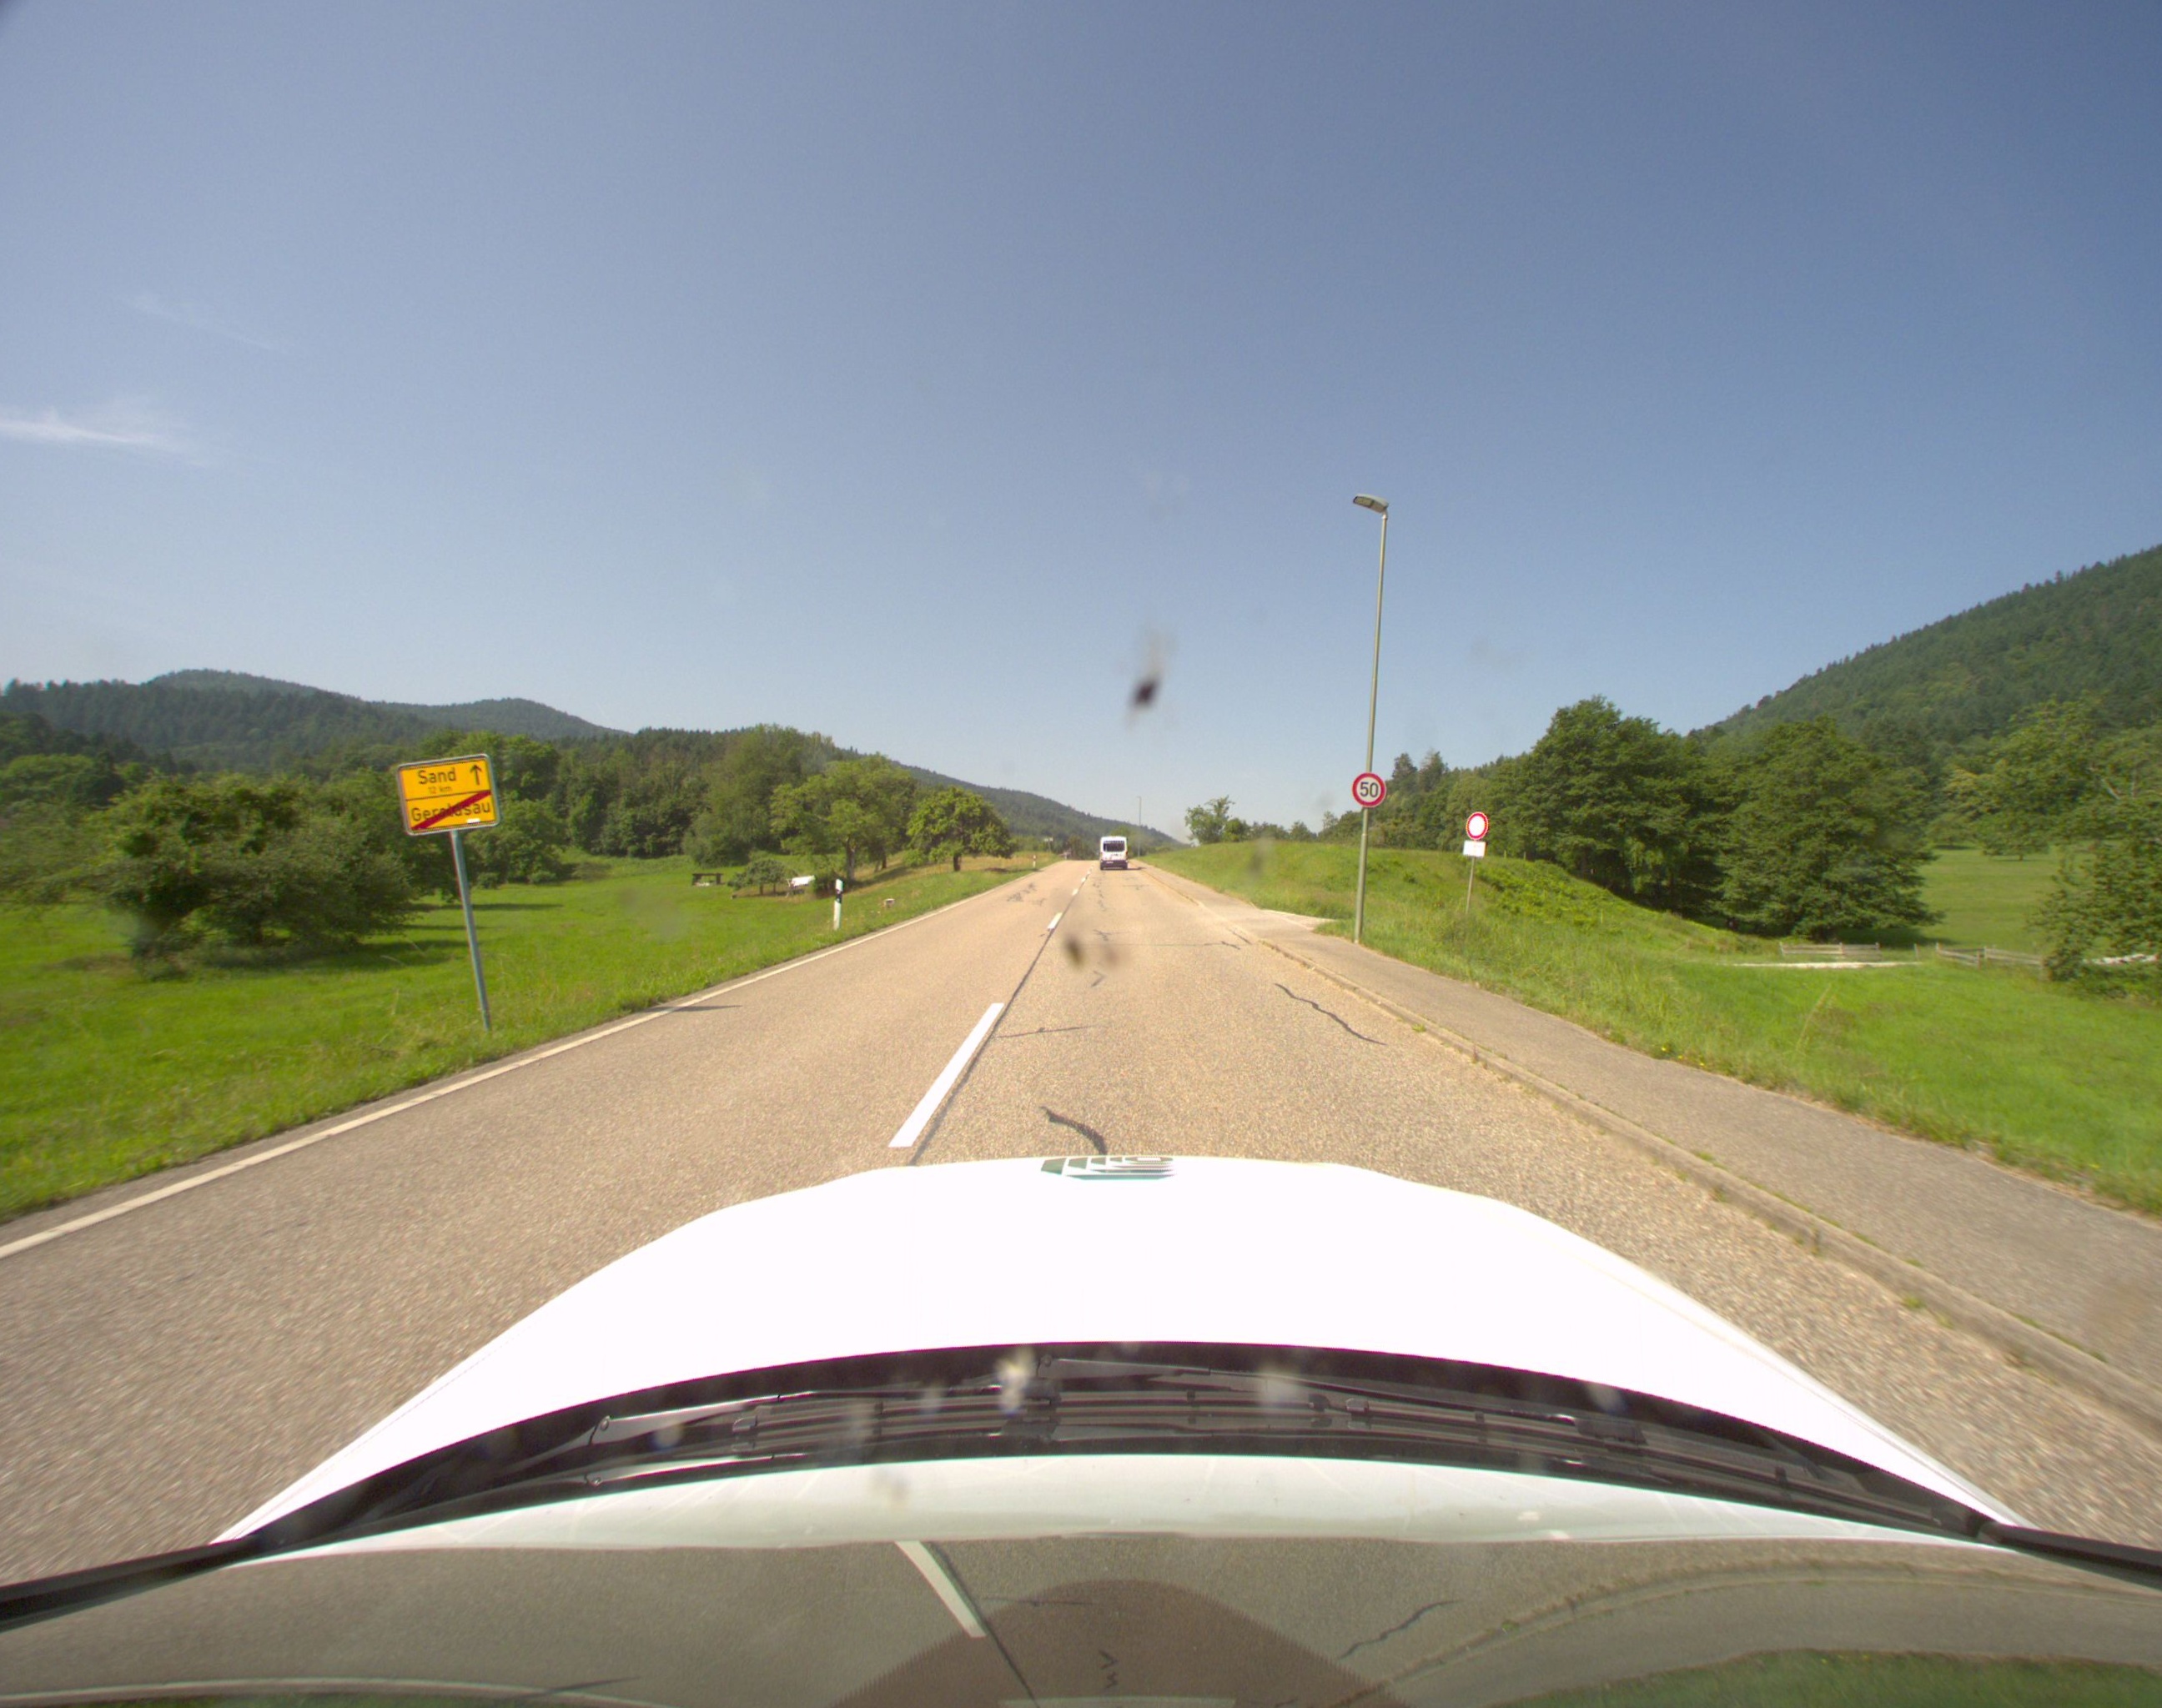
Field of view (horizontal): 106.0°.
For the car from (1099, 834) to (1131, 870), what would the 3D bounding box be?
[{"bbox_3d":[2.556,-0.100,61.400,2.214,2.526,4.985,-3,-2,1],"label":"car"}]
